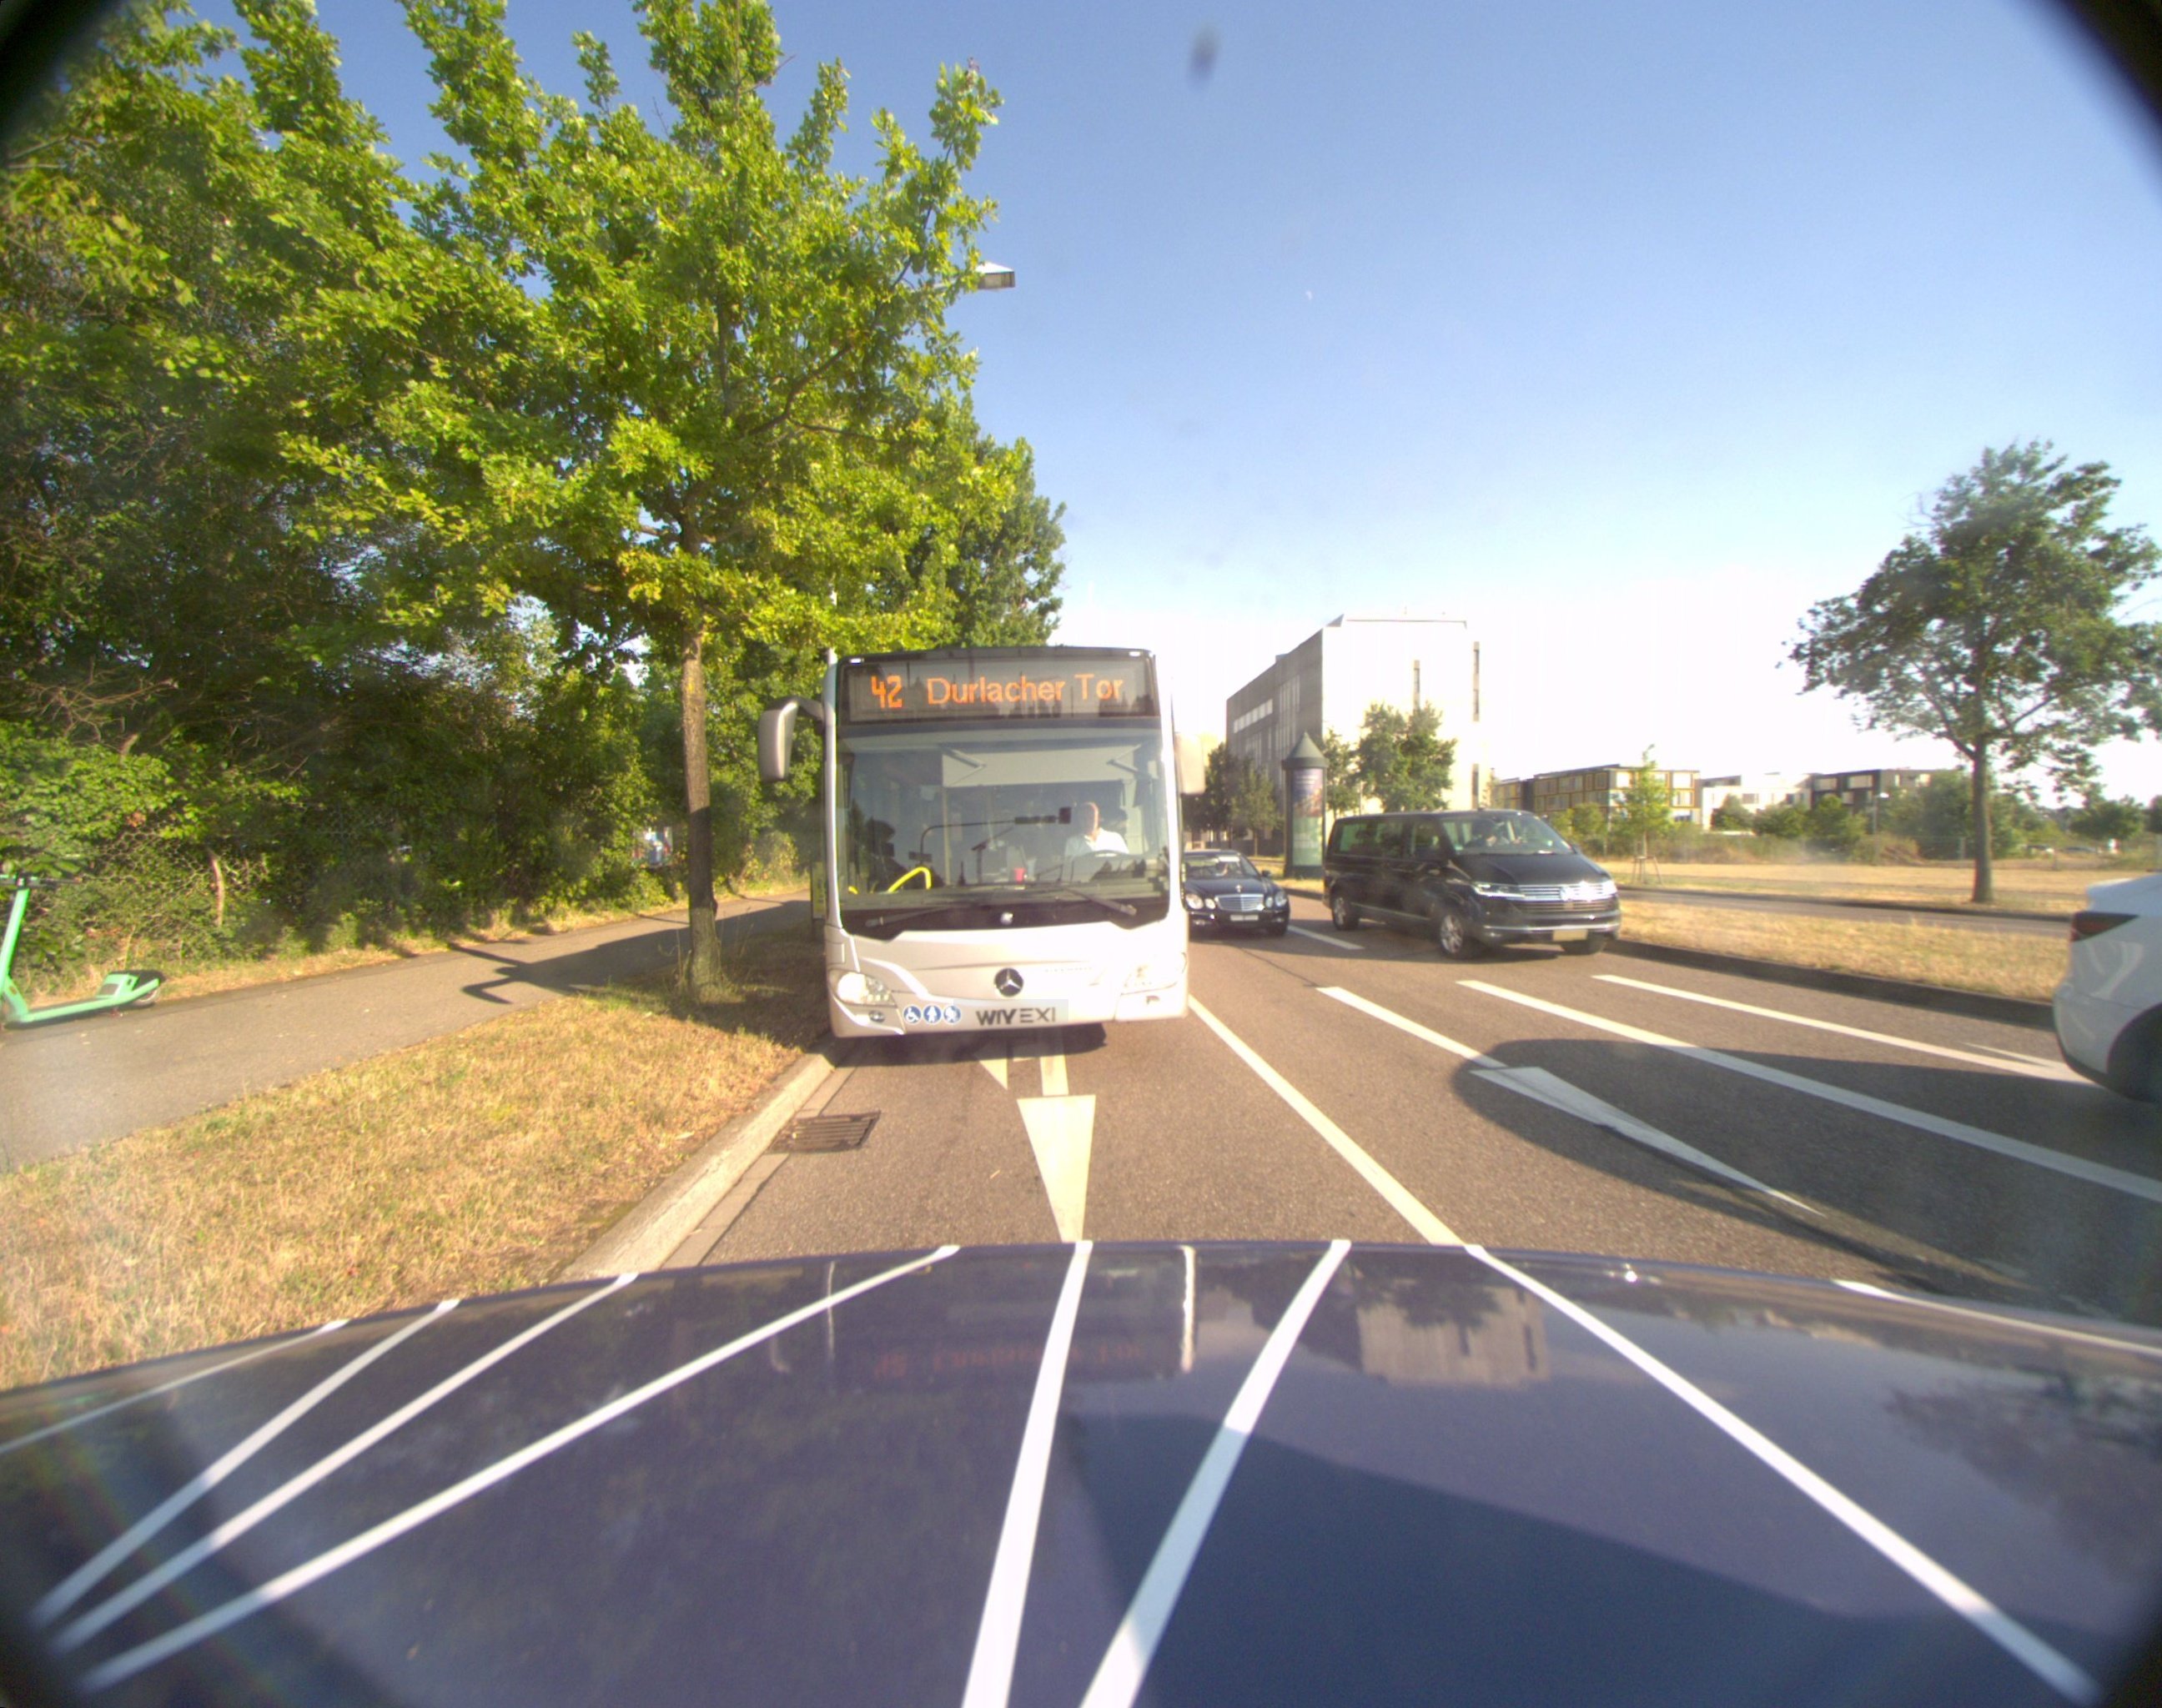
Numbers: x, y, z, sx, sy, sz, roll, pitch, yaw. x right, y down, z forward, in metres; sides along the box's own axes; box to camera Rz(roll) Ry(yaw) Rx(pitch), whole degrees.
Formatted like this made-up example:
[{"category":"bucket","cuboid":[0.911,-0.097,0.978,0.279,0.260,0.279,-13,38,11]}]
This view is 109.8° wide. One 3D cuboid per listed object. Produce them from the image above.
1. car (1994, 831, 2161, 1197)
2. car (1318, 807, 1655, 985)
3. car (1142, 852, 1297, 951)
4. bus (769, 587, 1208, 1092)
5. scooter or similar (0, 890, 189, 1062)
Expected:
[{"category":"car","cuboid":[5.699,0.698,1.619,1.740,1.590,4.675,-2,1,-4]},{"category":"car","cuboid":[5.304,0.418,10.933,1.861,1.921,5.010,-2,1,-5]},{"category":"car","cuboid":[2.275,0.709,13.680,1.810,1.428,4.492,-1,0,-2]},{"category":"bus","cuboid":[-0.736,-0.155,10.499,2.595,3.025,11.715,-1,1,-2]},{"category":"scooter or similar","cuboid":[-7.578,0.867,5.791,0.249,1.120,1.095,2,1,1]}]
